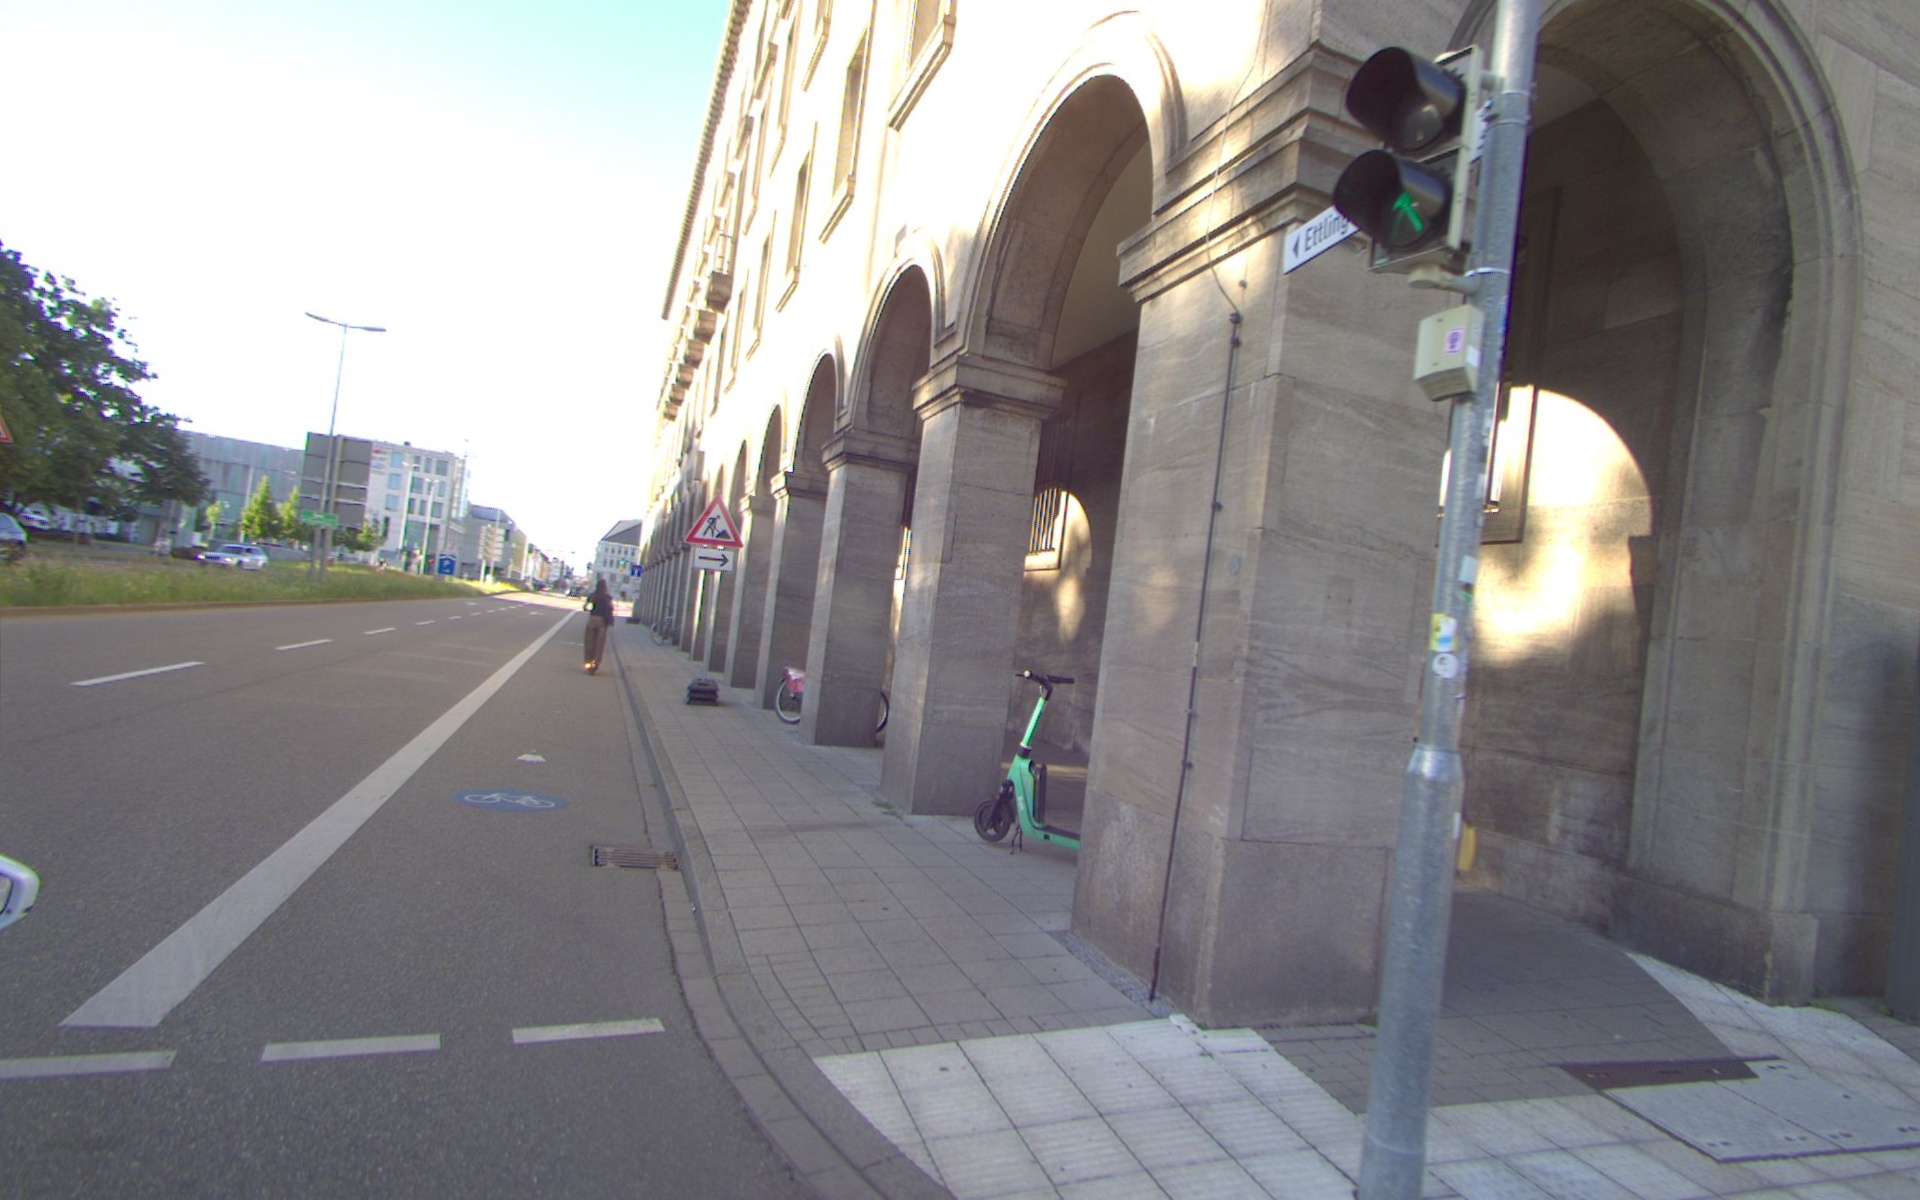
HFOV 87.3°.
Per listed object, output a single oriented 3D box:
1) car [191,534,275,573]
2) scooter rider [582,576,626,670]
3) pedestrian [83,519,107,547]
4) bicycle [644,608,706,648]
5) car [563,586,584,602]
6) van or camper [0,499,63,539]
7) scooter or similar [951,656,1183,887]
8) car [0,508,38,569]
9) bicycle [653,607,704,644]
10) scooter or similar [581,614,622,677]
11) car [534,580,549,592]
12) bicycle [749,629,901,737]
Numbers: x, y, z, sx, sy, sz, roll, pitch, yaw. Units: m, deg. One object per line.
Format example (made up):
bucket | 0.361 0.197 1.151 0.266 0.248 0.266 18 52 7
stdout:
car | -38.479 -2.429 53.397 1.910 1.544 4.576 7 -2 -15
scooter rider | -6.604 0.423 18.629 0.555 1.651 0.647 7 -1 -22
pedestrian | -51.720 -3.986 60.174 0.605 1.546 0.940 7 -1 -14
bicycle | -8.777 0.871 30.998 1.697 1.063 0.523 6 -1 -35
car | -44.980 -0.684 116.975 1.760 1.582 3.767 8 -2 -26
van or camper | -61.263 -5.392 64.035 5.599 2.036 2.251 7 -3 -19
scooter or similar | 0.674 1.035 6.458 1.245 1.238 0.639 4 0 36
car | -26.510 -1.781 26.301 1.972 1.582 4.045 8 -2 -19
bicycle | -9.183 0.848 32.896 0.601 1.063 1.713 5 -1 23
scooter or similar | -6.593 0.831 18.482 0.549 1.043 1.112 7 -1 -22
car | -76.813 -2.538 184.636 1.972 1.763 4.625 8 -1 -20
bicycle | -1.697 1.023 12.649 1.681 1.147 0.664 5 0 20
